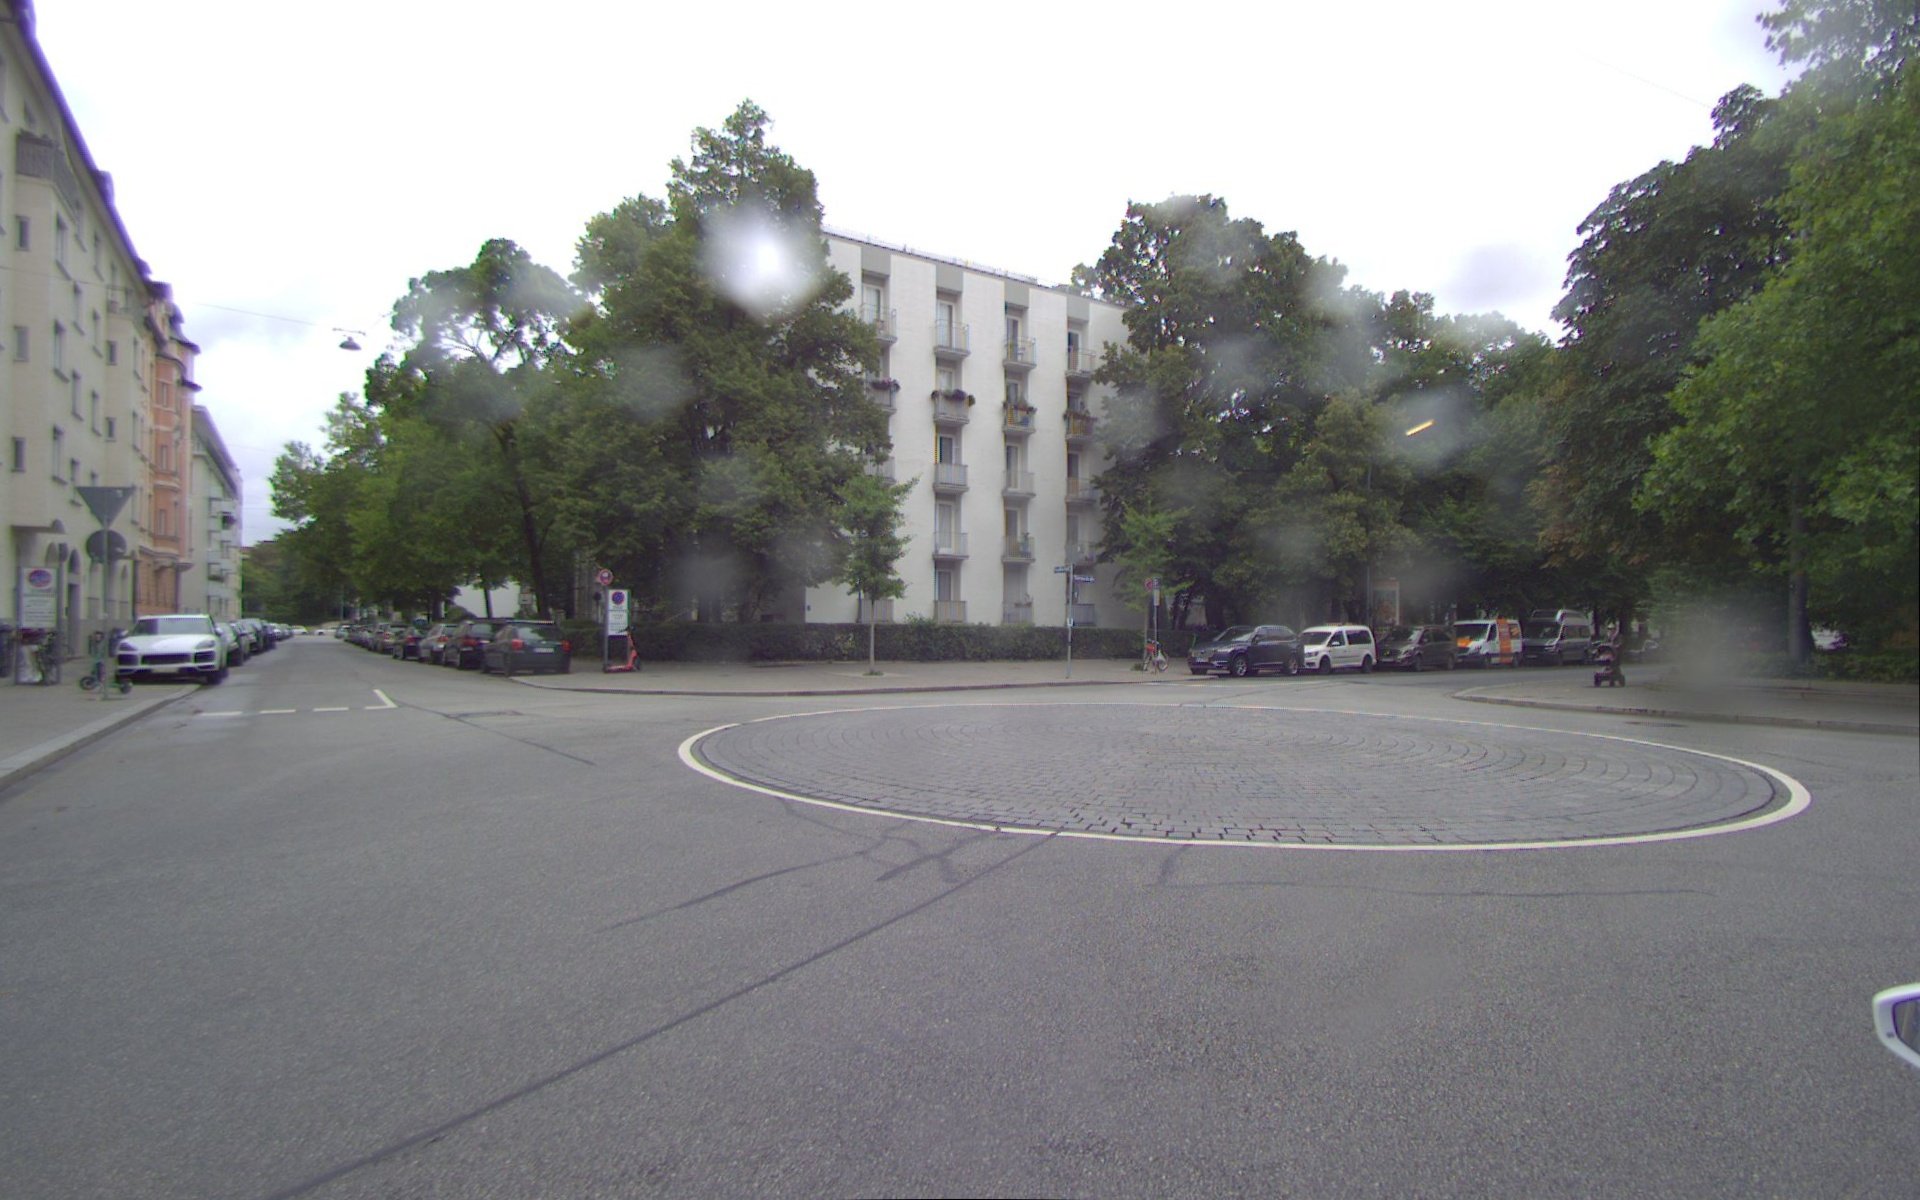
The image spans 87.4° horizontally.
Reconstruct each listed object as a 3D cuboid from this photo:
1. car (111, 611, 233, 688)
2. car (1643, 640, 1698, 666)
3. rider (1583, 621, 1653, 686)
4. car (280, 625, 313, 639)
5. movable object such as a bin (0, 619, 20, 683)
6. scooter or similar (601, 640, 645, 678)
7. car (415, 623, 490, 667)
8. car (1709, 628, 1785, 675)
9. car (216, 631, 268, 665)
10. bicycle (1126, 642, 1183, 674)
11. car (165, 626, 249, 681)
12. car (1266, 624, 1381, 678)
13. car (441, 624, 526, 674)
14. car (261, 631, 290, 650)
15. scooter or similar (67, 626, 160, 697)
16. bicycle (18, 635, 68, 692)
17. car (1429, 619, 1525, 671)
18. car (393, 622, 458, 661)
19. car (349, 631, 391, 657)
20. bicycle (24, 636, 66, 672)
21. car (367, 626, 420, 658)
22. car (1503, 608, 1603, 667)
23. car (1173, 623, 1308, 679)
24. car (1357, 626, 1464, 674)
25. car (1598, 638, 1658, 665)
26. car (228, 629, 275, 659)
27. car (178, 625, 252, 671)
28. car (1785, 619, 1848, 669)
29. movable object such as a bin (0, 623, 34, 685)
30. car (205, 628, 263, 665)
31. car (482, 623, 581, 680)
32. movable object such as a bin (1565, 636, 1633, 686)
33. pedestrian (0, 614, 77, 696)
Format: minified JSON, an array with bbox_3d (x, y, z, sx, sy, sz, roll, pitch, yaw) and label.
[{"bbox_3d":[-19.361,1.170,24.866,1.979,1.714,4.765,2,-2,-34],"label":"car"},{"bbox_3d":[46.347,3.433,65.476,4.039,1.592,1.881,2,-2,-39],"label":"car"},{"bbox_3d":[17.615,1.435,26.916,1.124,1.689,1.079,1,-4,-25],"label":"rider"},{"bbox_3d":[-98.808,4.730,149.647,3.956,2.040,1.983,1,-2,-32],"label":"car"},{"bbox_3d":[-22.821,1.171,23.252,1.331,1.476,1.152,1,-2,-33],"label":"movable object such as a bin"},{"bbox_3d":[-9.444,1.645,28.173,0.374,1.039,1.135,-1,-2,43],"label":"scooter or similar"},{"bbox_3d":[-18.737,1.623,36.997,1.760,1.538,3.993,2,-2,-37],"label":"car"},{"bbox_3d":[34.746,2.232,44.325,4.415,1.948,2.022,2,-2,-44],"label":"car"},{"bbox_3d":[-36.385,2.411,50.983,1.980,1.616,4.172,2,-2,-34],"label":"car"},{"bbox_3d":[6.904,2.050,35.660,1.953,1.065,0.904,2,-2,-37],"label":"bicycle"},{"bbox_3d":[-25.112,1.753,33.628,1.980,1.714,4.172,2,-2,-34],"label":"car"},{"bbox_3d":[13.889,1.905,38.272,4.826,1.919,1.911,2,-2,-39],"label":"car"},{"bbox_3d":[-15.839,1.580,33.323,1.760,1.538,3.993,2,-2,-37],"label":"car"},{"bbox_3d":[-59.006,3.498,86.650,1.980,1.616,4.172,2,-2,-34],"label":"car"},{"bbox_3d":[-17.149,1.231,20.364,1.328,1.413,0.709,0,-1,7],"label":"scooter or similar"},{"bbox_3d":[-19.823,1.341,21.740,0.545,1.165,1.827,1,-2,-35],"label":"bicycle"},{"bbox_3d":[24.336,2.101,47.211,5.148,2.281,2.095,2,-2,-38],"label":"car"},{"bbox_3d":[-22.053,1.680,41.382,1.760,1.538,3.993,2,-2,-37],"label":"car"},{"bbox_3d":[-36.716,2.742,62.475,1.760,1.538,3.993,2,-2,-37],"label":"car"},{"bbox_3d":[-28.502,1.665,31.319,0.618,1.060,2.195,1,-2,-34],"label":"bicycle"},{"bbox_3d":[-28.515,2.100,50.503,1.760,1.538,3.993,2,-2,-37],"label":"car"},{"bbox_3d":[31.458,1.988,53.218,6.520,2.960,2.318,2,-2,-38],"label":"car"},{"bbox_3d":[9.795,1.741,34.865,4.863,1.790,2.050,2,-2,-38],"label":"car"},{"bbox_3d":[19.035,2.080,42.372,4.941,1.883,2.050,2,-2,-38],"label":"car"},{"bbox_3d":[39.878,3.066,59.958,4.039,1.558,1.881,2,-2,-39],"label":"car"},{"bbox_3d":[-39.382,2.431,55.909,1.980,1.616,4.172,2,-2,-34],"label":"car"},{"bbox_3d":[-27.868,1.775,37.672,1.980,1.616,4.172,2,-2,-34],"label":"car"},{"bbox_3d":[46.574,2.383,54.575,5.210,2.592,2.022,2,-2,-43],"label":"car"},{"bbox_3d":[-23.536,1.310,24.368,1.331,1.476,1.285,1,-2,-33],"label":"movable object such as a bin"},{"bbox_3d":[-33.342,2.108,46.203,1.980,1.616,4.172,2,-2,-34],"label":"car"},{"bbox_3d":[-12.582,1.453,29.378,1.760,1.538,3.993,2,-2,-37],"label":"car"},{"bbox_3d":[16.888,1.618,26.561,1.072,1.283,1.075,1,-4,-25],"label":"movable object such as a bin"},{"bbox_3d":[-21.370,1.249,23.300,1.120,1.828,1.260,1,-2,-33],"label":"pedestrian"}]
